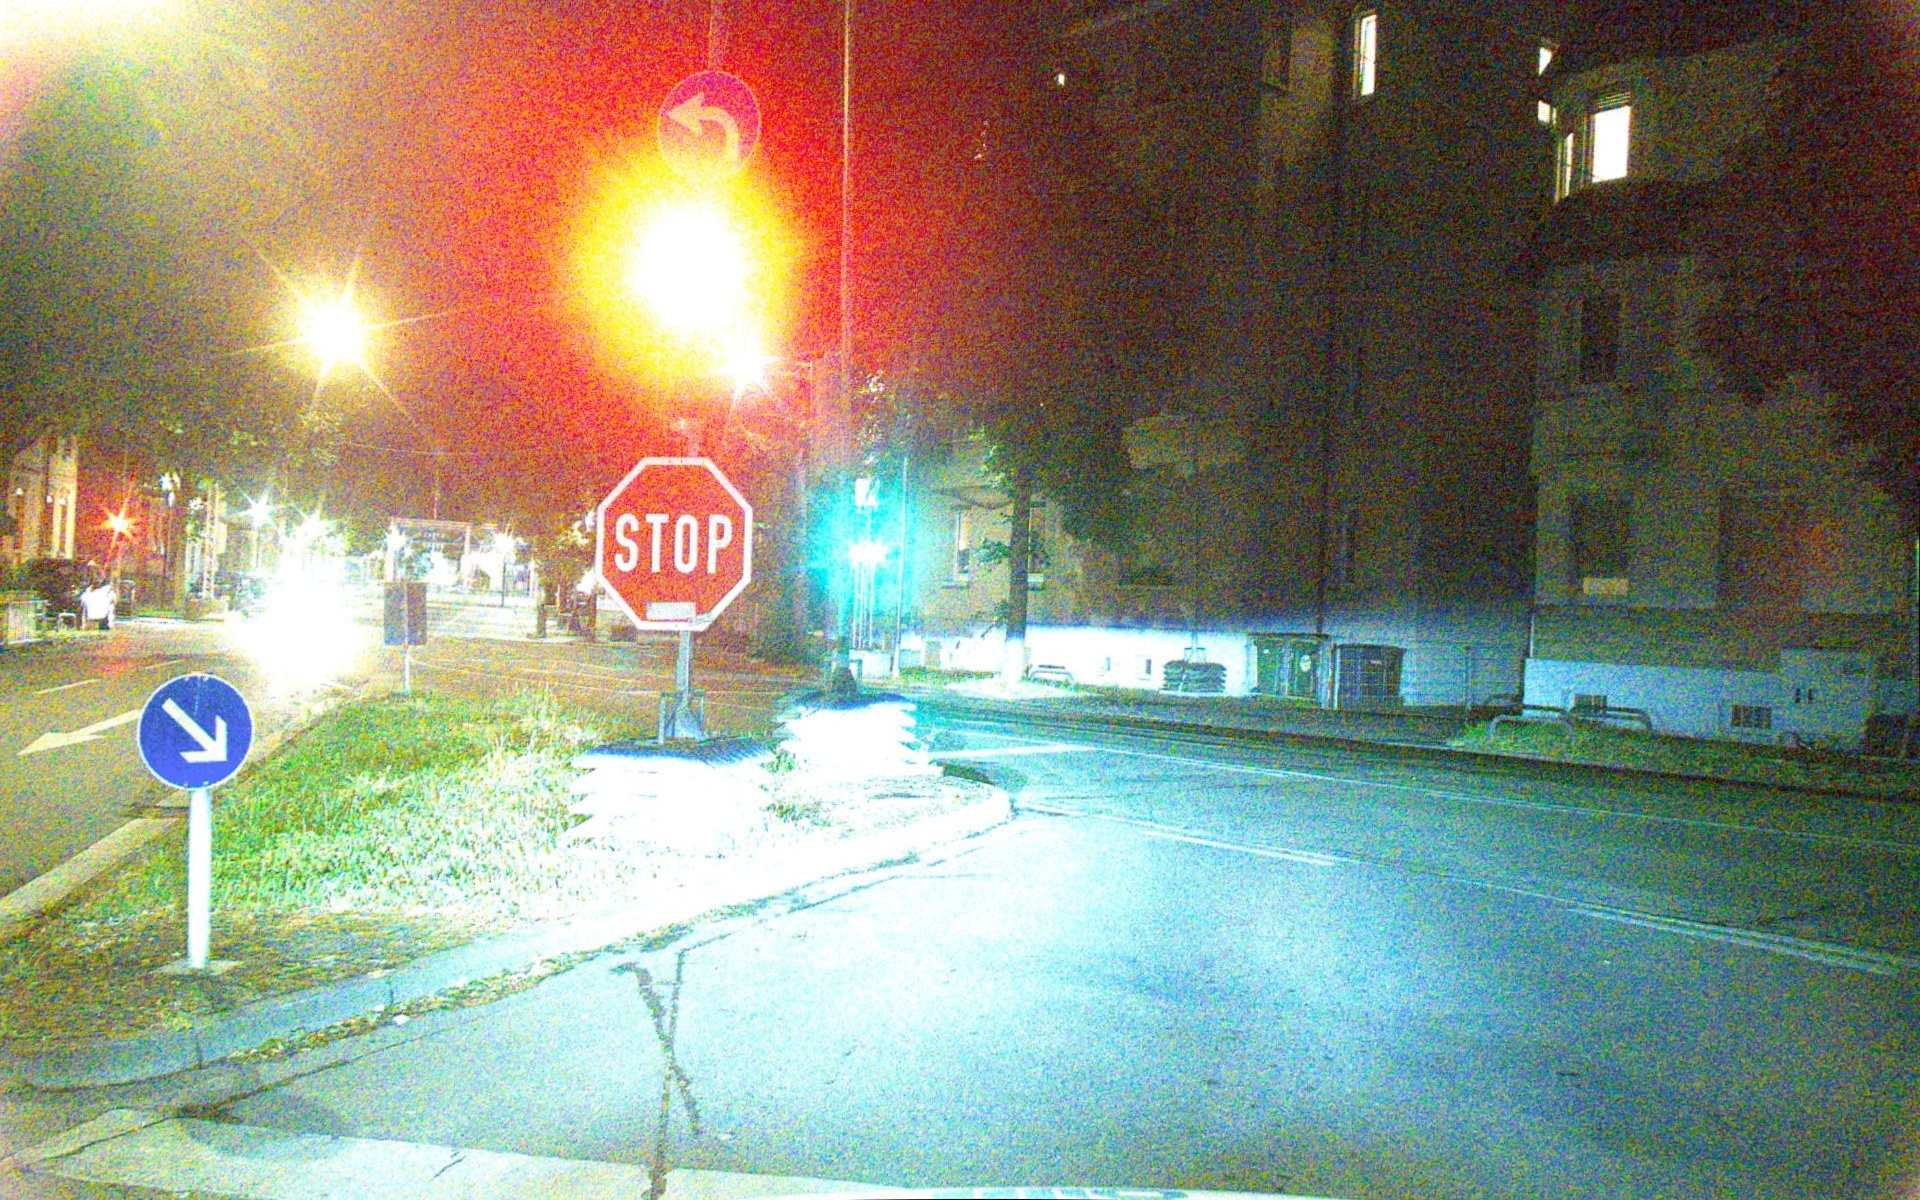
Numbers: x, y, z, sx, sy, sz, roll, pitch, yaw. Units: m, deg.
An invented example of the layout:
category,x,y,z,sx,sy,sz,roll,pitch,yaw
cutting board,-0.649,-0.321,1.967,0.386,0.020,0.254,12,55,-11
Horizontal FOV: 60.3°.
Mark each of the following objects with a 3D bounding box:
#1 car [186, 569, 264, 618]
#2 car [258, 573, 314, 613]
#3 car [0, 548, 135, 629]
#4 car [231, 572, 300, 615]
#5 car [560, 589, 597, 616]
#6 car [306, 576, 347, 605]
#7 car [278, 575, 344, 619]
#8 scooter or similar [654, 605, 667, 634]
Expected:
category,x,y,z,sx,sy,sz,roll,pitch,yaw
car,-25.720,-0.219,57.951,1.564,1.517,3.689,6,-1,-11
car,-29.273,-0.323,71.901,1.757,1.517,3.981,6,-1,-17
car,-20.410,-0.252,37.744,1.854,1.624,4.009,5,-1,-14
car,-27.784,-0.256,66.262,1.754,1.517,4.314,6,-1,-14
car,-24.027,0.139,104.055,1.708,1.485,4.701,4,-1,-19
car,-35.190,-0.566,91.950,1.756,1.440,4.107,5,-1,-17
car,-22.945,-0.108,58.555,1.687,1.454,3.984,1,0,-15
scooter or similar,-12.429,0.791,68.651,0.414,1.150,1.491,2,0,-8
